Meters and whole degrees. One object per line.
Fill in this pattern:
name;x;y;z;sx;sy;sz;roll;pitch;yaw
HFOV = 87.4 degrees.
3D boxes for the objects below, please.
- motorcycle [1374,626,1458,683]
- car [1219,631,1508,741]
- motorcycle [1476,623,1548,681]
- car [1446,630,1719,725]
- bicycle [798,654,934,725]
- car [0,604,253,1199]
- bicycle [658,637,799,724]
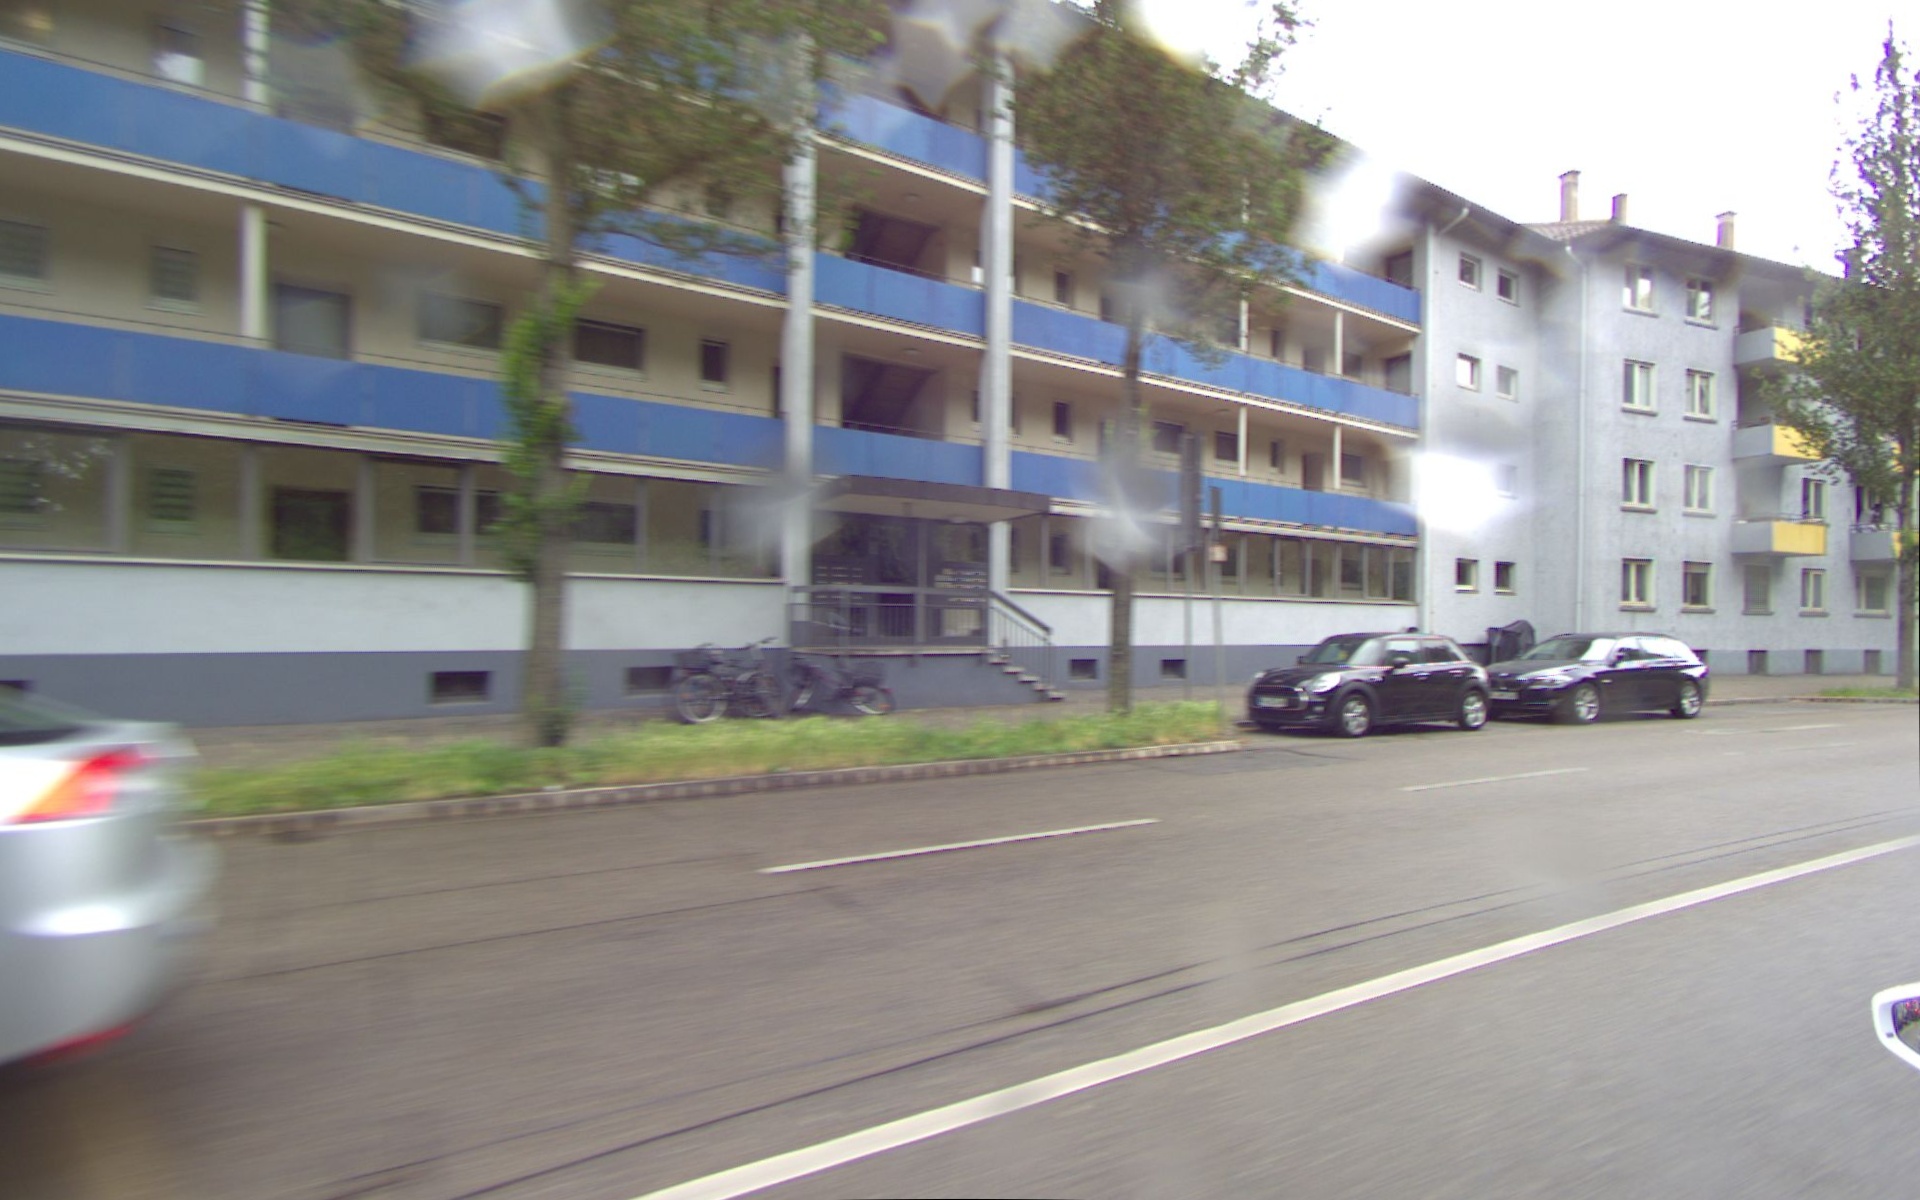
motorcycle;10.885;1.290;23.954;2.212;1.271;0.671;1;1;-32
car;5.949;1.187;14.759;4.037;1.421;1.773;1;-3;-28
motorcycle;14.556;1.358;26.466;2.213;1.433;0.671;2;2;-35
car;10.811;1.295;17.378;4.830;1.458;1.814;2;-3;-28
bicycle;-1.261;1.194;13.678;1.723;0.837;0.663;1;2;-36
car;-4.090;0.700;1.878;4.493;1.444;1.741;1;-1;-36
bicycle;-2.992;1.014;13.086;1.722;1.037;0.606;2;-1;-44
